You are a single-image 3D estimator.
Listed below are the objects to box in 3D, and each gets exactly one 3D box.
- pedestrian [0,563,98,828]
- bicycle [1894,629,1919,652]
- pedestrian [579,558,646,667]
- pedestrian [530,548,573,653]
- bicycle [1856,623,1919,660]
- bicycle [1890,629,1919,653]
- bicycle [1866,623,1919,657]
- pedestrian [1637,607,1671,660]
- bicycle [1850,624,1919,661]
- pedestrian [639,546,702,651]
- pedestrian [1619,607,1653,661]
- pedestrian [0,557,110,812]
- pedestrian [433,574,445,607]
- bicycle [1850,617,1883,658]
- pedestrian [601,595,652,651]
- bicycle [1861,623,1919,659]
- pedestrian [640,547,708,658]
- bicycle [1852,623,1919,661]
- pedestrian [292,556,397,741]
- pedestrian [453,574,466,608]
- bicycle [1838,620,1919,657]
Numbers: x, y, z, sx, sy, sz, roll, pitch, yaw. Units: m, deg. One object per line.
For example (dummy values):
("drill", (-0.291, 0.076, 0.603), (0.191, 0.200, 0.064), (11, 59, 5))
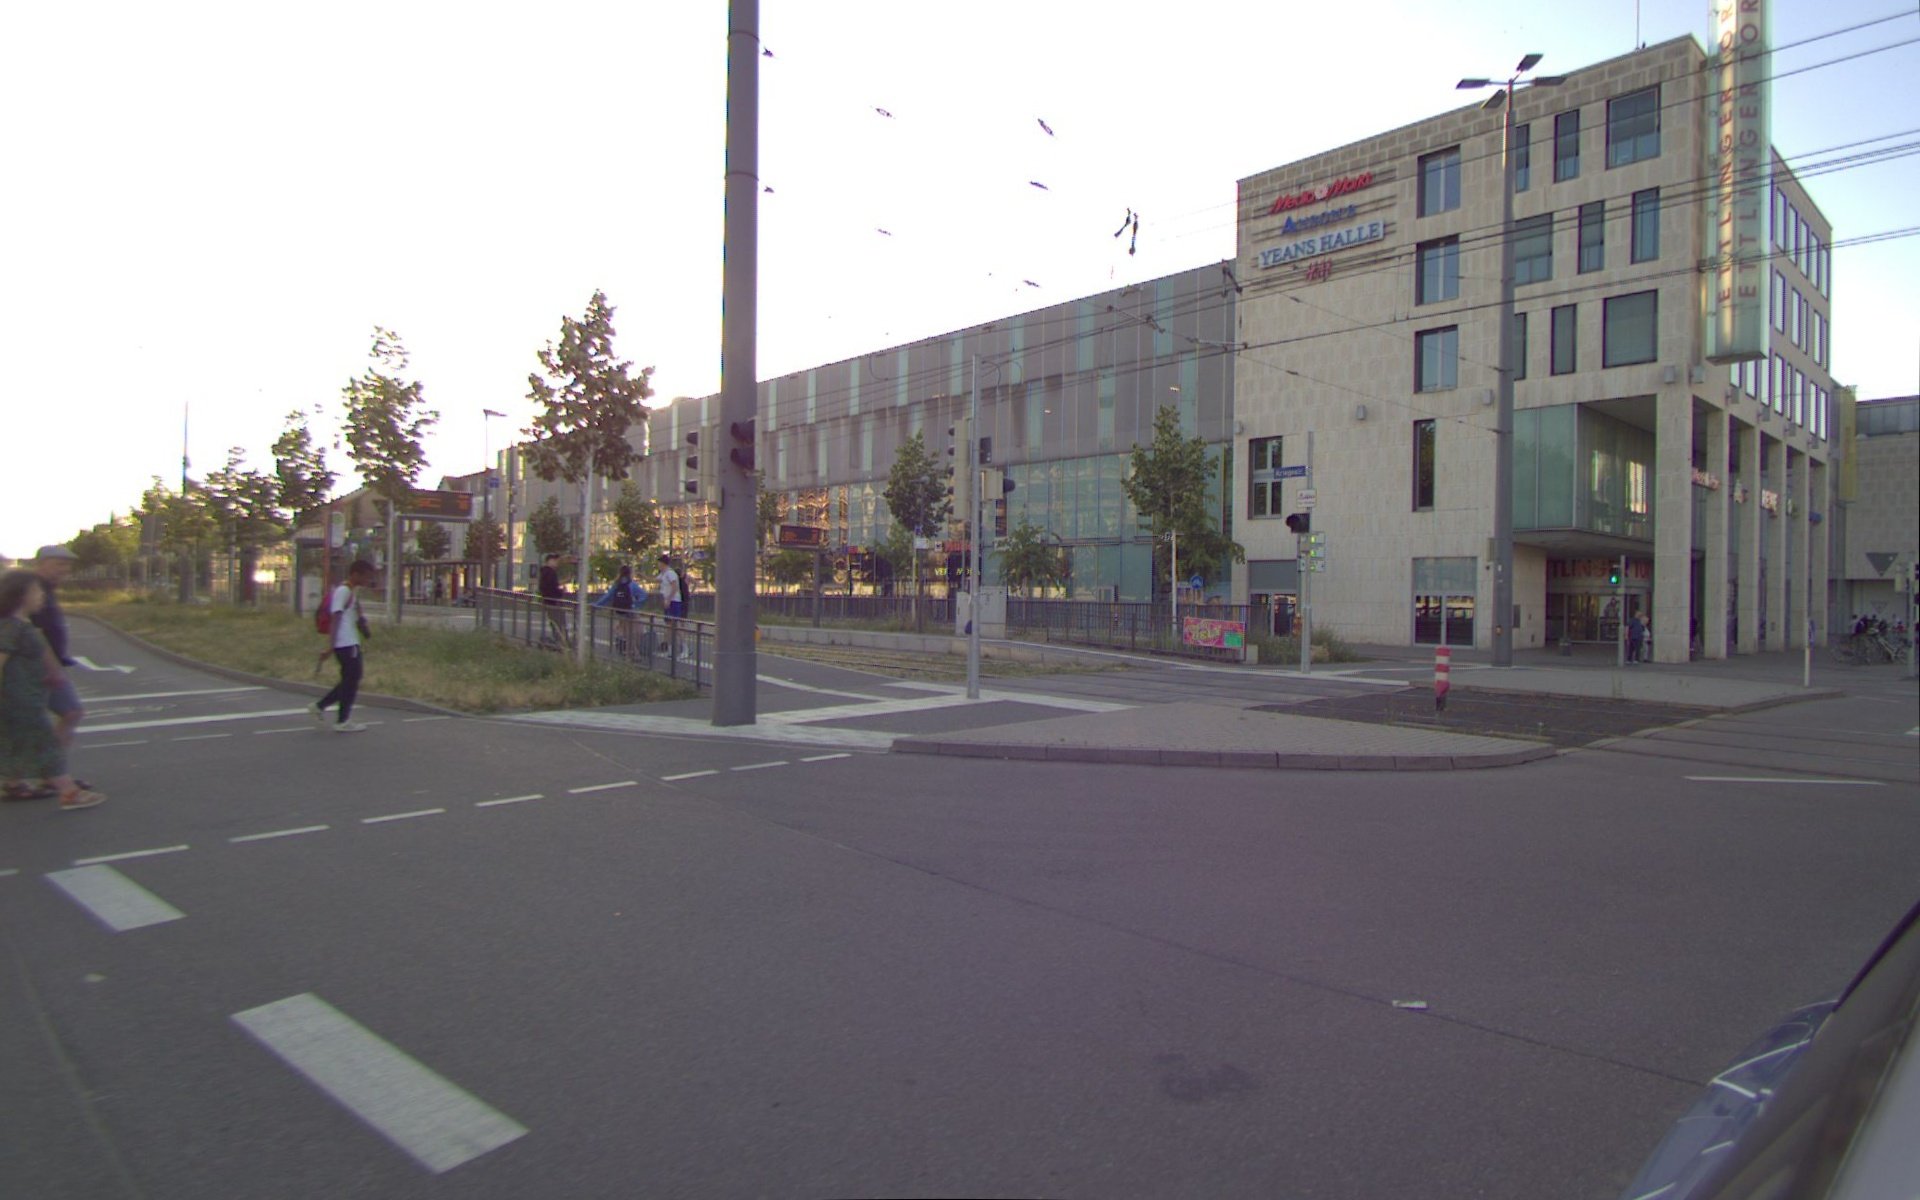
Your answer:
("pedestrian", (-6.346, 0.613, 6.715), (0.855, 1.680, 0.644), (-3, 2, -38))
("bicycle", (44.896, 1.911, 47.107), (0.500, 1.054, 2.021), (1, 0, -42))
("pedestrian", (-5.804, 0.190, 16.956), (0.986, 1.745, 0.873), (0, 3, -14))
("pedestrian", (-7.463, 0.010, 18.472), (0.576, 1.877, 0.604), (0, 0, -39))
("bicycle", (36.740, 1.626, 39.560), (0.608, 1.340, 2.506), (0, 1, -40))
("bicycle", (44.536, 1.908, 46.818), (0.500, 1.054, 2.208), (1, 0, -42))
("bicycle", (38.772, 1.639, 41.379), (0.608, 1.340, 2.506), (0, 1, -40))
("pedestrian", (23.210, 1.113, 33.857), (0.820, 1.728, 0.763), (1, -1, -43))
("bicycle", (35.718, 1.615, 38.654), (0.608, 1.340, 2.506), (0, 1, -40))
("pedestrian", (-5.396, -0.049, 18.862), (0.882, 1.876, 0.723), (2, 3, 16))
("pedestrian", (22.264, 1.101, 33.324), (0.820, 1.728, 0.763), (1, -1, -42))
("pedestrian", (-6.766, 0.581, 7.319), (0.855, 1.751, 0.644), (-3, 2, -38))
("pedestrian", (-30.244, -0.574, 58.773), (0.604, 1.876, 0.728), (0, 3, -30))
("bicycle", (32.014, 1.301, 35.722), (2.467, 1.340, 0.618), (0, 1, -43))
("pedestrian", (-6.024, 0.407, 18.299), (0.648, 0.975, 0.644), (1, 0, 44))
("bicycle", (37.522, 1.630, 40.240), (0.608, 1.340, 2.506), (0, 1, -40))
("pedestrian", (-5.065, 0.022, 17.906), (0.986, 1.876, 0.896), (0, 3, -28))
("bicycle", (36.209, 1.621, 39.128), (0.608, 1.340, 2.506), (0, 1, -40))
("pedestrian", (-6.419, 0.472, 10.563), (0.855, 1.836, 0.644), (-1, 1, -38))
("pedestrian", (-29.073, -0.523, 58.770), (0.604, 1.875, 0.728), (0, 6, -30))
("bicycle", (33.881, 1.403, 36.824), (0.749, 1.231, 2.811), (0, 1, -31))
